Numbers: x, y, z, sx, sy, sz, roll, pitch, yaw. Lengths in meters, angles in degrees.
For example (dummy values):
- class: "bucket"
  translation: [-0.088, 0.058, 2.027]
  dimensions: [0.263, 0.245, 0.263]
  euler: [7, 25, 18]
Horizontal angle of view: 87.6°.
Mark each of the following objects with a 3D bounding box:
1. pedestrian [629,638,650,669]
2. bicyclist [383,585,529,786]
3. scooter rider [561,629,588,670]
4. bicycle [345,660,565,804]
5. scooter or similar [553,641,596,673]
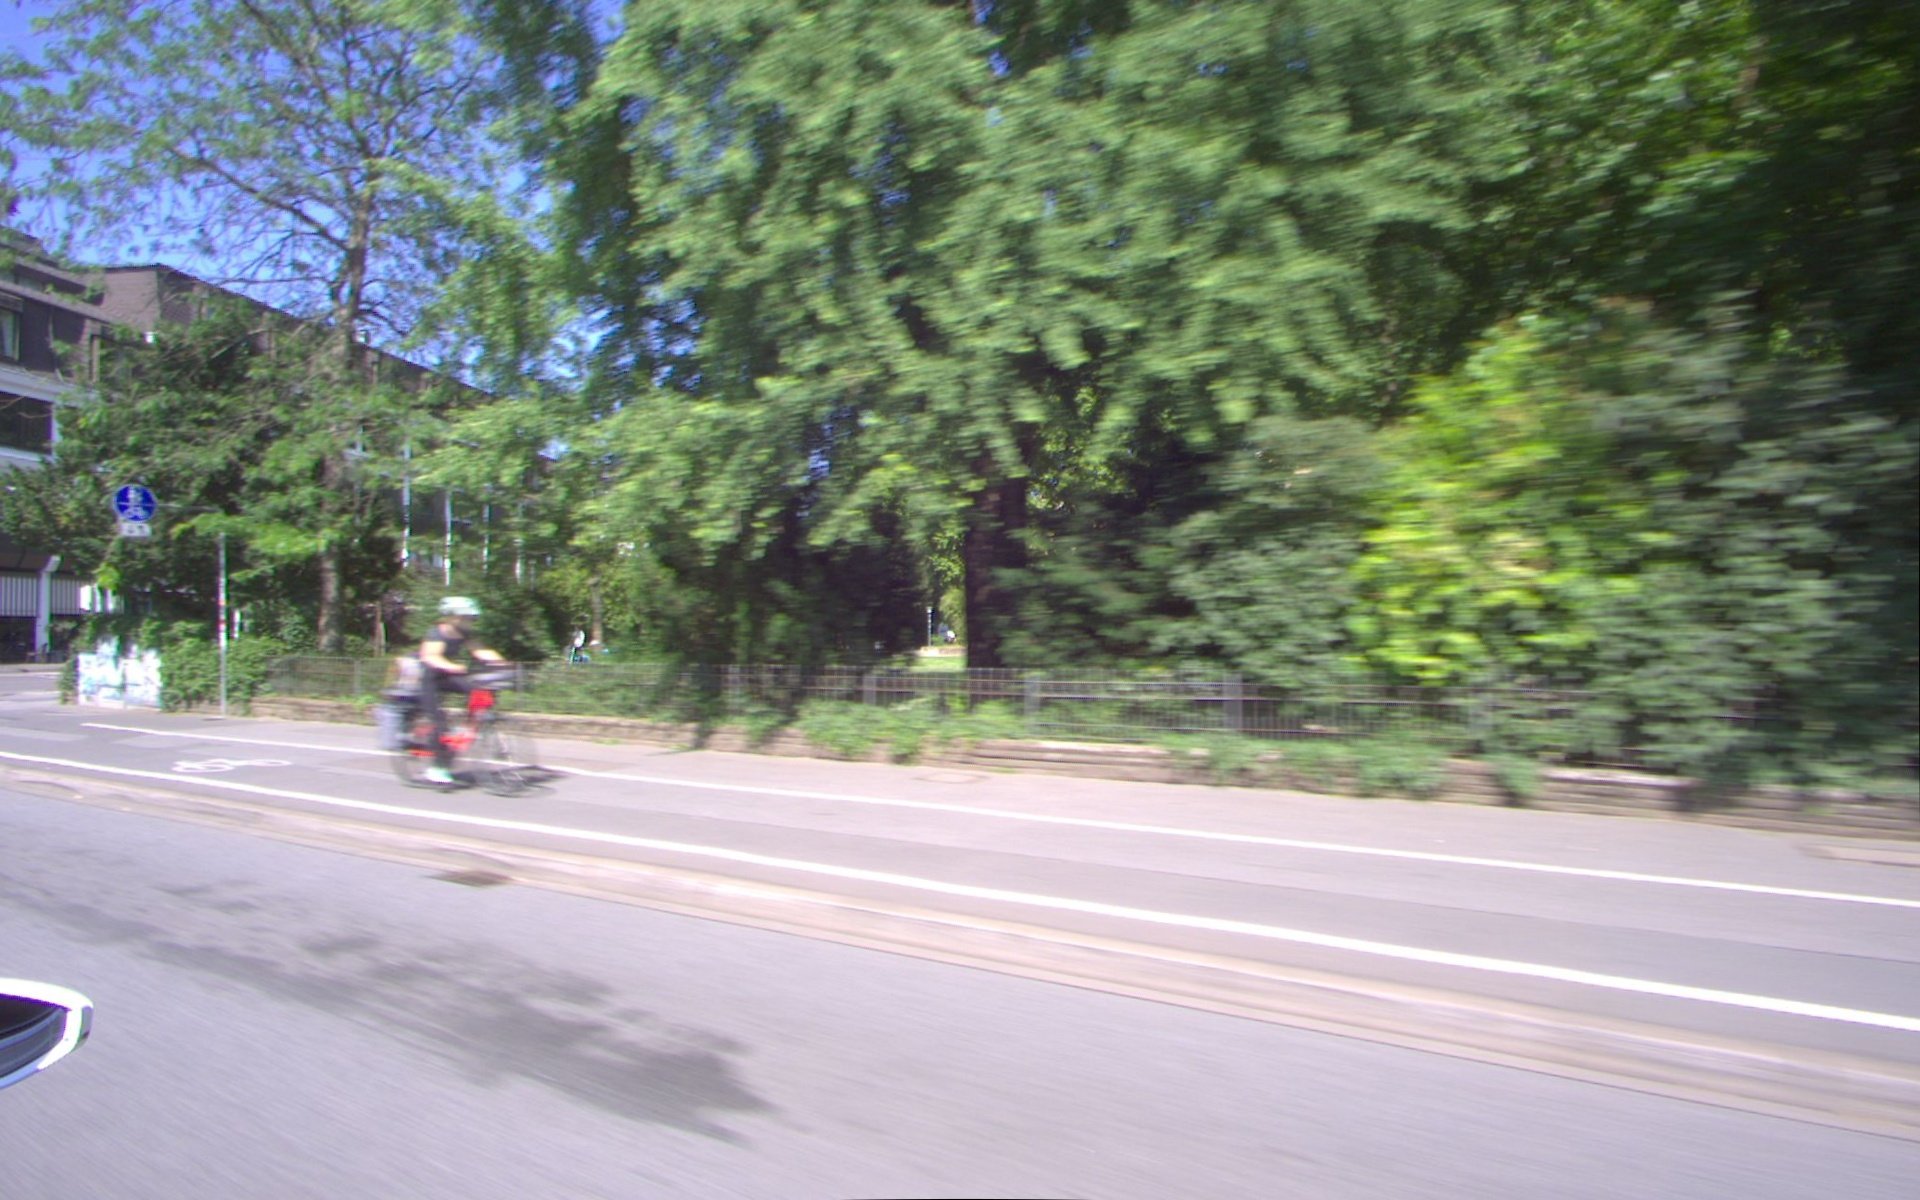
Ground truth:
- class: "pedestrian"
  translation: [-13.659, 2.264, 42.684]
  dimensions: [0.703, 1.286, 0.452]
  euler: [0, -1, 21]
- class: "bicyclist"
  translation: [-4.443, 0.725, 8.848]
  dimensions: [0.929, 1.657, 0.763]
  euler: [-1, -1, 29]
- class: "scooter rider"
  translation: [-16.147, 2.059, 41.949]
  dimensions: [0.809, 1.693, 0.708]
  euler: [-1, -1, 18]
- class: "bicycle"
  translation: [-4.487, 1.111, 8.871]
  dimensions: [1.971, 1.135, 0.757]
  euler: [-2, -2, 29]
- class: "scooter or similar"
  translation: [-16.142, 2.376, 41.940]
  dimensions: [0.806, 1.315, 1.694]
  euler: [-1, -1, 16]
